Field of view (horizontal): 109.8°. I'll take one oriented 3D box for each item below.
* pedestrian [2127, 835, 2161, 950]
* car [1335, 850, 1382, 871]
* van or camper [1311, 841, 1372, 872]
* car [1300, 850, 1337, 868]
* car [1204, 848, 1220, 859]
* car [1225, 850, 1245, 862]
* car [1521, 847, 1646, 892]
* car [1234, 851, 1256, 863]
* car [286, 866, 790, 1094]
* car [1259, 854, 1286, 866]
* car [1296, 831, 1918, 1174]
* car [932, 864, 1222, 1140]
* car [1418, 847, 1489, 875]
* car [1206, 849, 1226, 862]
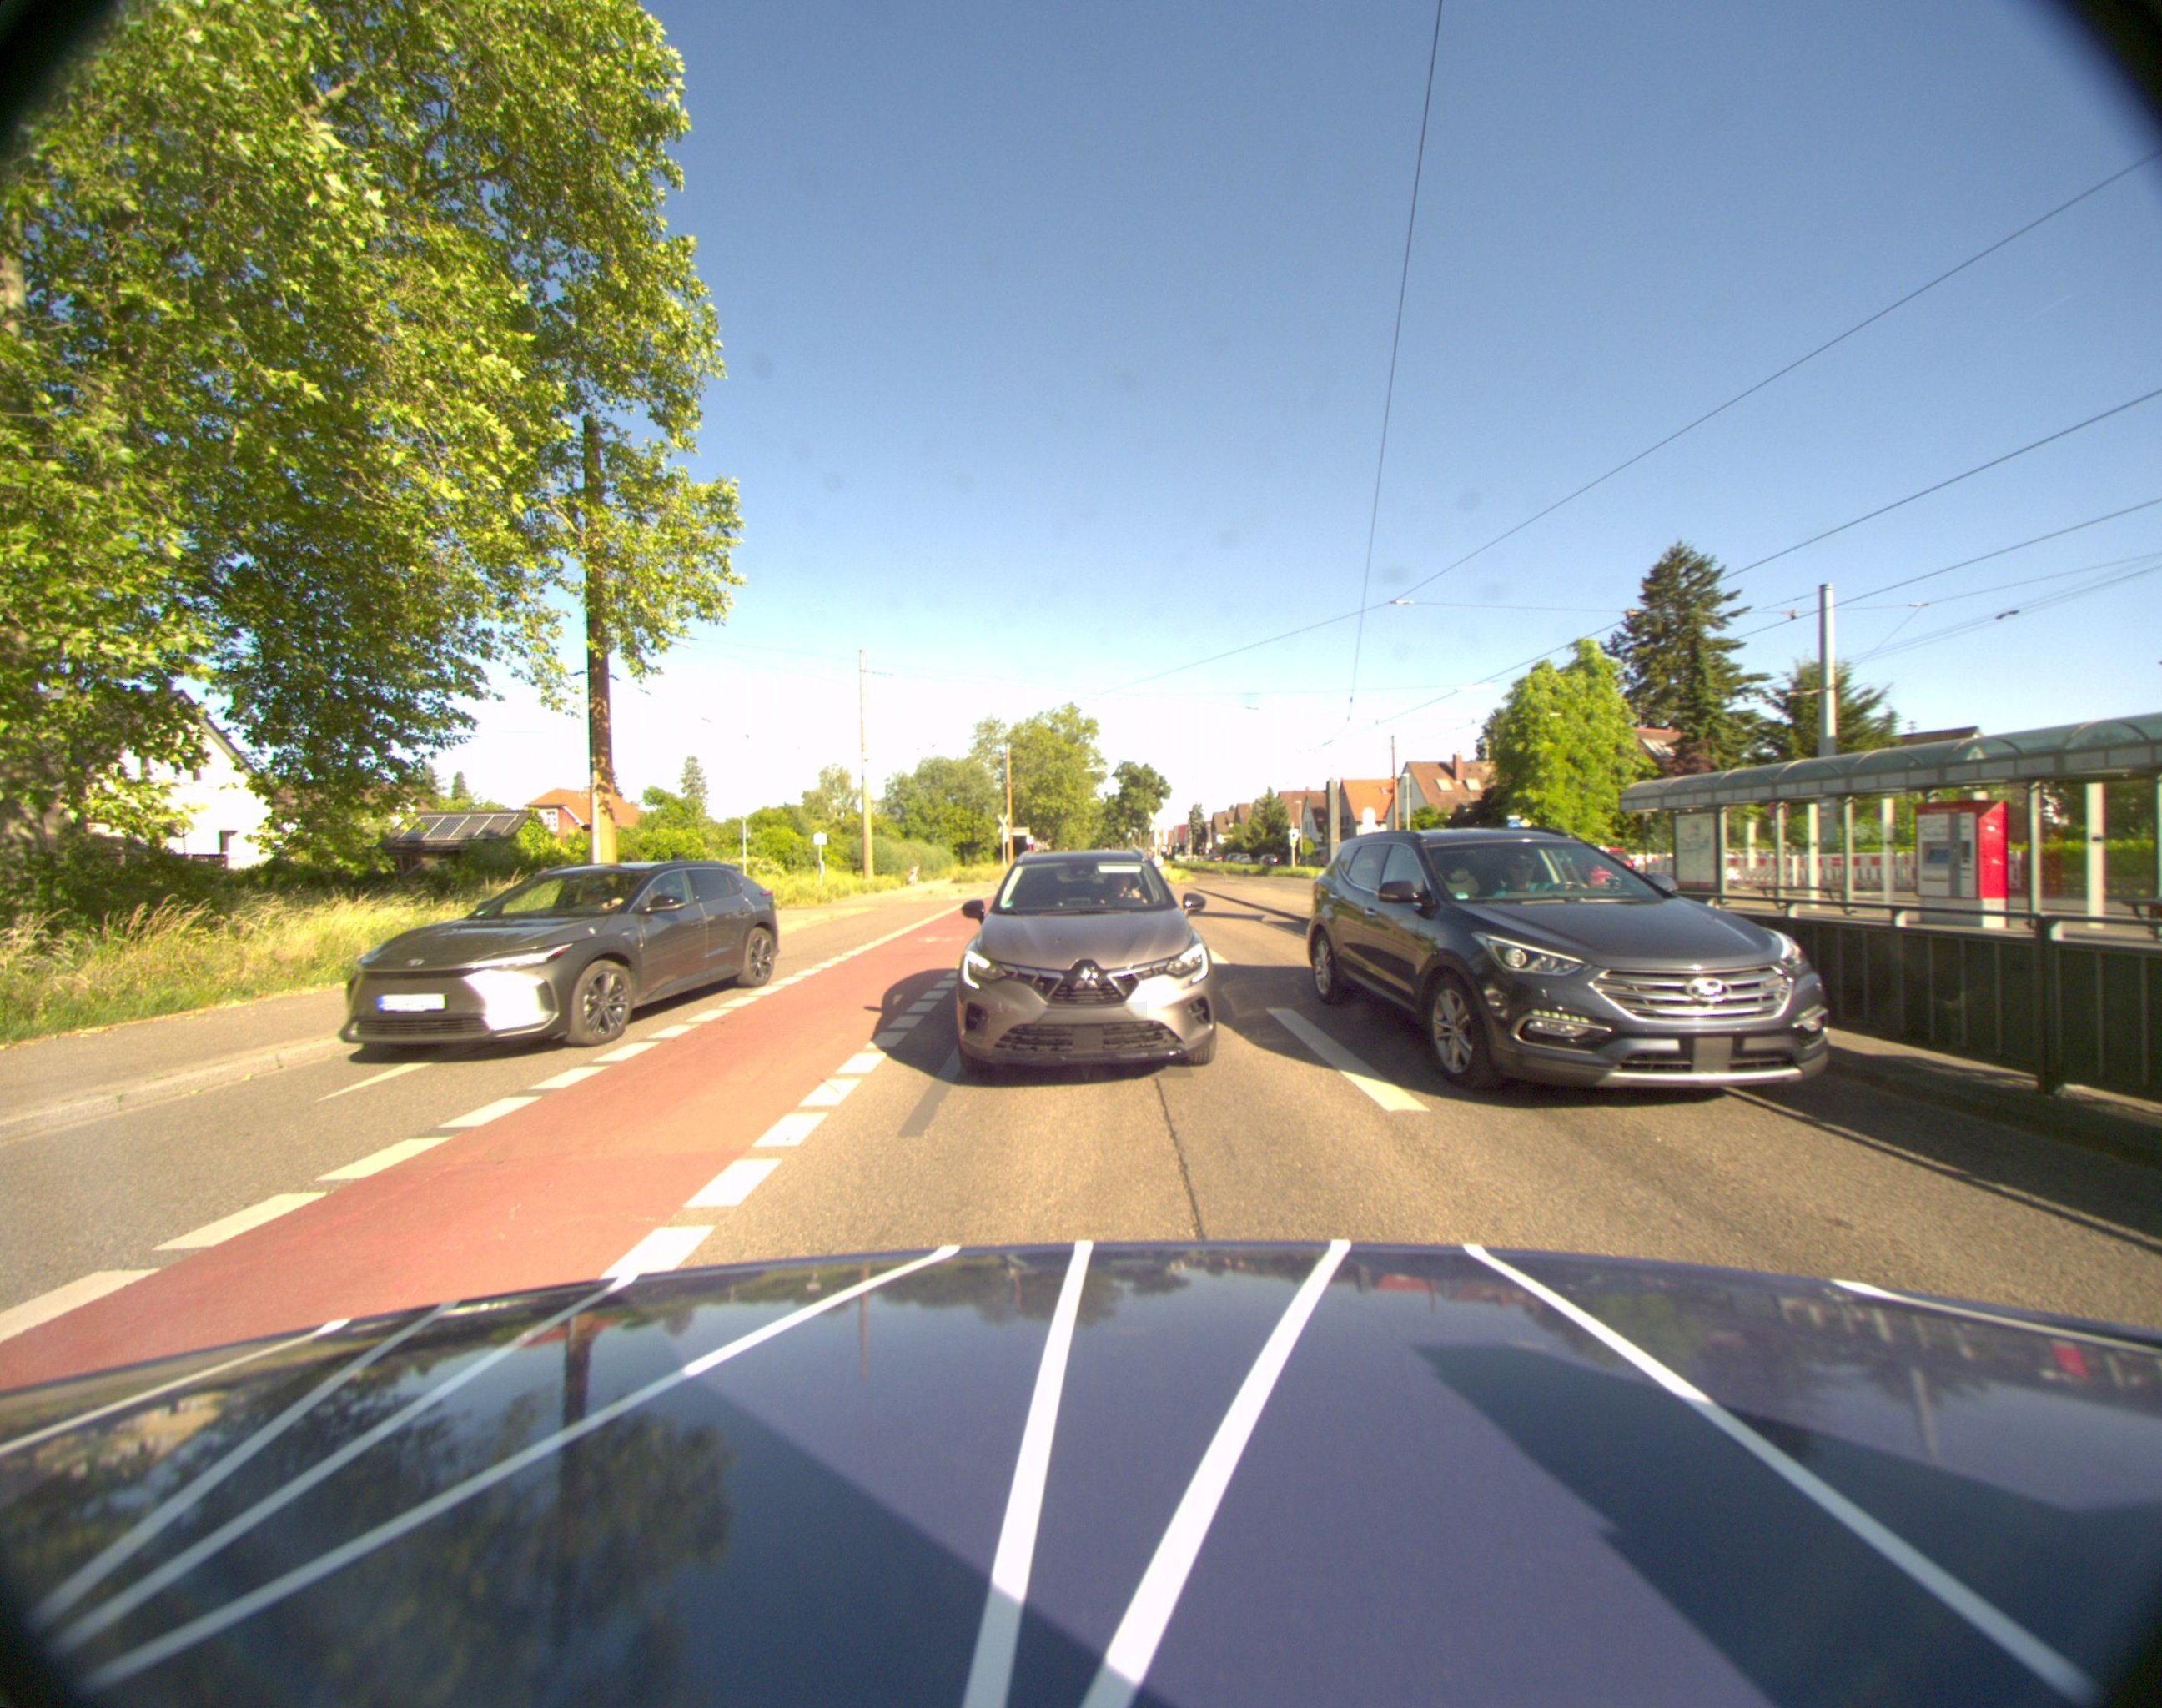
[{"bbox_3d":[14.229,0.499,9.420,1.063,1.444,1.007,1,1,0],"label":"pedestrian"},{"bbox_3d":[21.722,0.452,59.588,1.888,1.464,4.613,-3,1,-1],"label":"car"},{"bbox_3d":[17.111,0.154,50.254,1.998,1.817,5.987,-3,0,1],"label":"van or camper"},{"bbox_3d":[21.618,0.404,69.377,1.912,1.457,4.440,-3,1,0],"label":"car"},{"bbox_3d":[22.066,-0.103,127.956,1.998,1.852,4.584,-2,0,1],"label":"car"},{"bbox_3d":[21.798,0.271,107.407,1.888,1.552,4.536,-3,0,0],"label":"car"},{"bbox_3d":[16.911,0.496,25.803,1.608,1.394,4.017,-1,0,1],"label":"car"},{"bbox_3d":[22.058,0.334,102.354,1.888,1.464,4.838,-3,0,1],"label":"car"},{"bbox_3d":[-4.931,0.981,7.918,1.770,1.621,4.499,-1,0,4],"label":"car"},{"bbox_3d":[22.127,0.666,87.981,1.998,1.363,4.310,-2,0,1],"label":"car"},{"bbox_3d":[3.135,0.716,5.794,1.780,1.620,4.288,-1,0,0],"label":"car"},{"bbox_3d":[-0.038,0.898,6.274,1.673,1.529,3.586,-2,0,-1],"label":"car"},{"bbox_3d":[21.879,0.375,44.821,1.999,1.492,4.067,-3,1,-2],"label":"car"},{"bbox_3d":[17.099,0.176,96.654,1.740,1.511,4.344,-1,0,0],"label":"car"}]
